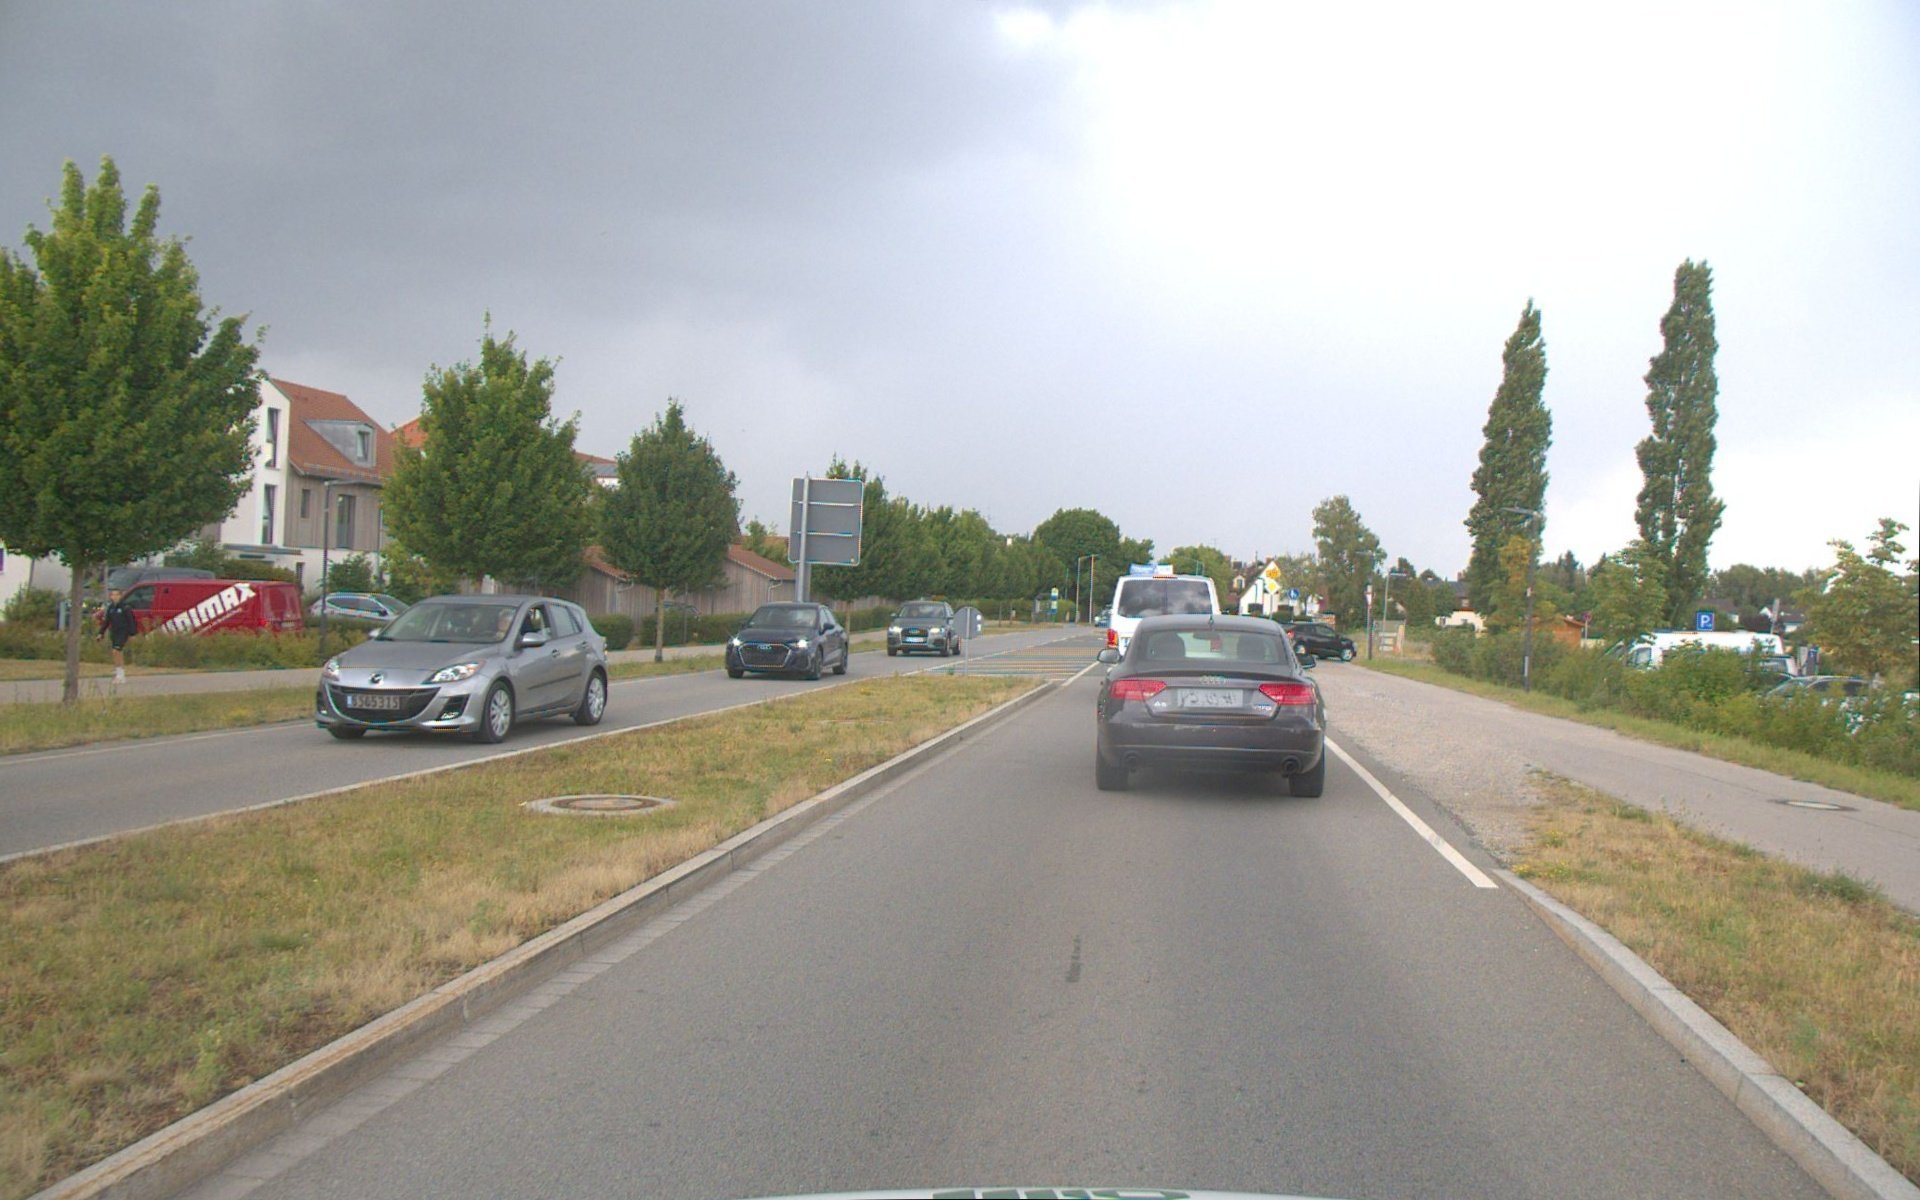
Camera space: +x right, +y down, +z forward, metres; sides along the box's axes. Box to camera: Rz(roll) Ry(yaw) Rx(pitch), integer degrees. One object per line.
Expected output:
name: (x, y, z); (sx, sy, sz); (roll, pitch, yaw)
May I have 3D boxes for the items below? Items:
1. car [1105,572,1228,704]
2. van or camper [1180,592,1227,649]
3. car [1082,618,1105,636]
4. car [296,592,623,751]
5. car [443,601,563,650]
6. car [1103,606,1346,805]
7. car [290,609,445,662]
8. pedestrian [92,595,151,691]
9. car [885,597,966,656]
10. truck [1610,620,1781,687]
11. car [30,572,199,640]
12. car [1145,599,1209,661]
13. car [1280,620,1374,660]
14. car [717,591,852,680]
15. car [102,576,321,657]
car: (3.271, 0.587, 26.750); (1.828, 1.968, 4.002); (0, -1, 5)
van or camper: (15.408, 1.312, 104.965); (2.569, 3.381, 6.825); (3, -1, 7)
car: (12.350, 2.491, 153.013); (1.952, 1.534, 4.001); (3, -1, 3)
car: (-5.122, 0.682, 17.583); (1.693, 1.434, 4.209); (1, 0, 8)
car: (-16.105, 0.895, 58.357); (3.651, 1.508, 1.687); (3, 0, 4)
car: (2.127, 0.798, 14.166); (1.746, 1.416, 4.135); (1, -1, 5)
car: (-17.420, 1.038, 48.718); (3.832, 1.338, 1.844); (3, 0, 5)
pedestrian: (-14.265, 0.721, 28.141); (0.569, 1.586, 0.660); (2, 0, 6)
car: (-0.966, 0.762, 48.655); (1.828, 1.601, 4.002); (3, 0, 6)
truck: (24.249, 1.732, 54.672); (4.696, 1.905, 2.001); (3, -1, 3)
car: (-24.688, 0.209, 48.507); (1.951, 1.803, 4.469); (2, -1, 12)
car: (6.388, 0.859, 48.459); (1.739, 1.646, 4.003); (3, 0, 8)
car: (14.566, 1.590, 65.702); (3.455, 1.396, 1.433); (3, -1, -24)
car: (-3.379, 0.674, 32.607); (1.827, 1.601, 4.002); (1, 0, 6)
car: (-18.179, 0.403, 40.271); (4.434, 1.709, 2.002); (3, 0, 11)
